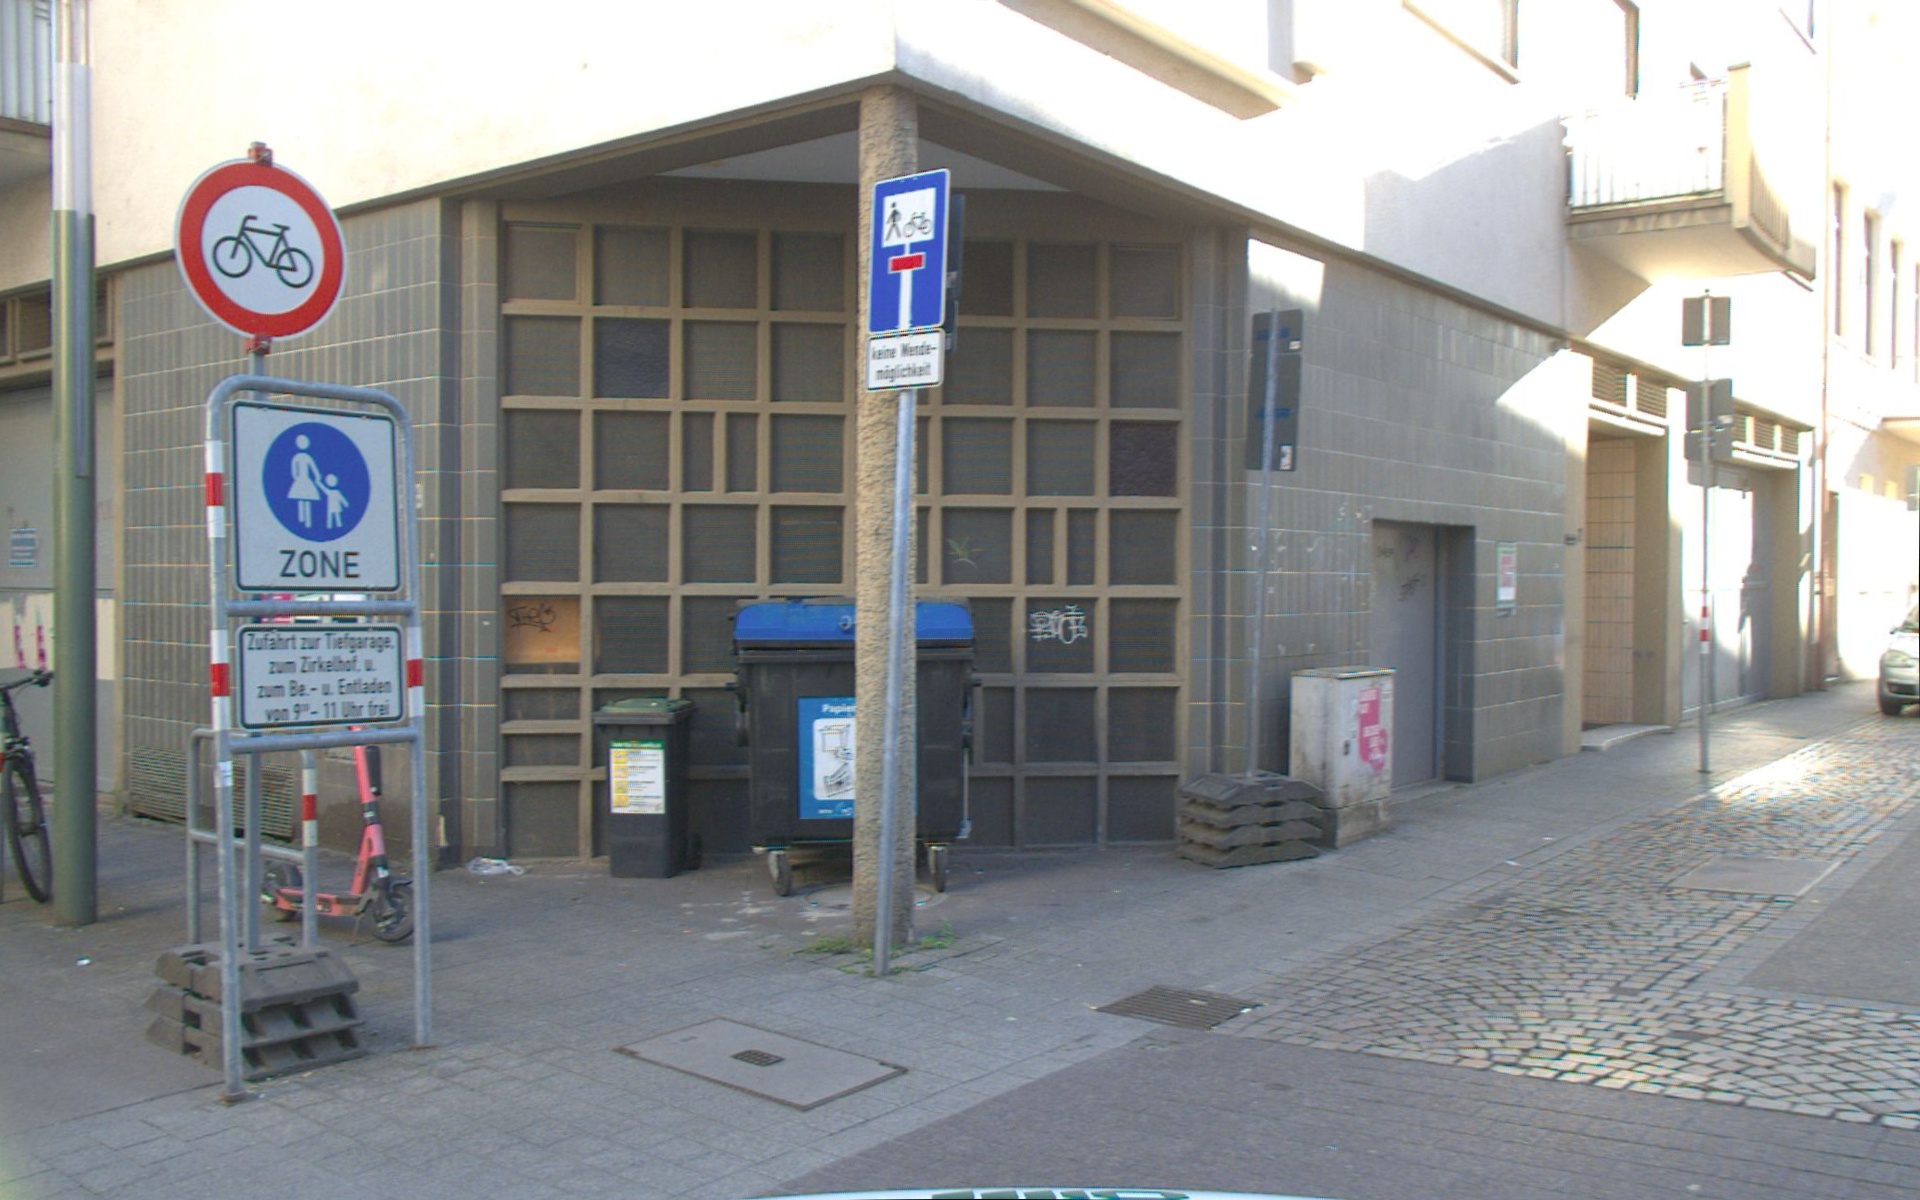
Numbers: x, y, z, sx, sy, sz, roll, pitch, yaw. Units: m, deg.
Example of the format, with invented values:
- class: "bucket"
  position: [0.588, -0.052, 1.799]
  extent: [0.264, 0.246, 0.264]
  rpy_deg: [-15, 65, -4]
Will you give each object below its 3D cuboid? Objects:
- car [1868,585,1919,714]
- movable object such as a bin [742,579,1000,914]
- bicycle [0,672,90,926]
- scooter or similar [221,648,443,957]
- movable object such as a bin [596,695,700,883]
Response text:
- class: "car"
  position: [12.570, 0.550, 20.456]
  extent: [1.737, 1.496, 3.796]
  rpy_deg: [-2, -1, 38]
- class: "movable object such as a bin"
  position: [-0.501, 0.710, 8.702]
  extent: [1.263, 1.617, 1.154]
  rpy_deg: [0, 1, -7]
- class: "bicycle"
  position: [-4.997, 0.963, 8.475]
  extent: [1.680, 1.160, 0.445]
  rpy_deg: [-1, -1, 44]
- class: "scooter or similar"
  position: [-2.835, 0.865, 7.427]
  extent: [1.213, 1.274, 0.307]
  rpy_deg: [0, 0, 35]
- class: "movable object such as a bin"
  position: [-1.674, 1.002, 8.926]
  extent: [0.530, 0.940, 0.512]
  rpy_deg: [0, 0, -9]
